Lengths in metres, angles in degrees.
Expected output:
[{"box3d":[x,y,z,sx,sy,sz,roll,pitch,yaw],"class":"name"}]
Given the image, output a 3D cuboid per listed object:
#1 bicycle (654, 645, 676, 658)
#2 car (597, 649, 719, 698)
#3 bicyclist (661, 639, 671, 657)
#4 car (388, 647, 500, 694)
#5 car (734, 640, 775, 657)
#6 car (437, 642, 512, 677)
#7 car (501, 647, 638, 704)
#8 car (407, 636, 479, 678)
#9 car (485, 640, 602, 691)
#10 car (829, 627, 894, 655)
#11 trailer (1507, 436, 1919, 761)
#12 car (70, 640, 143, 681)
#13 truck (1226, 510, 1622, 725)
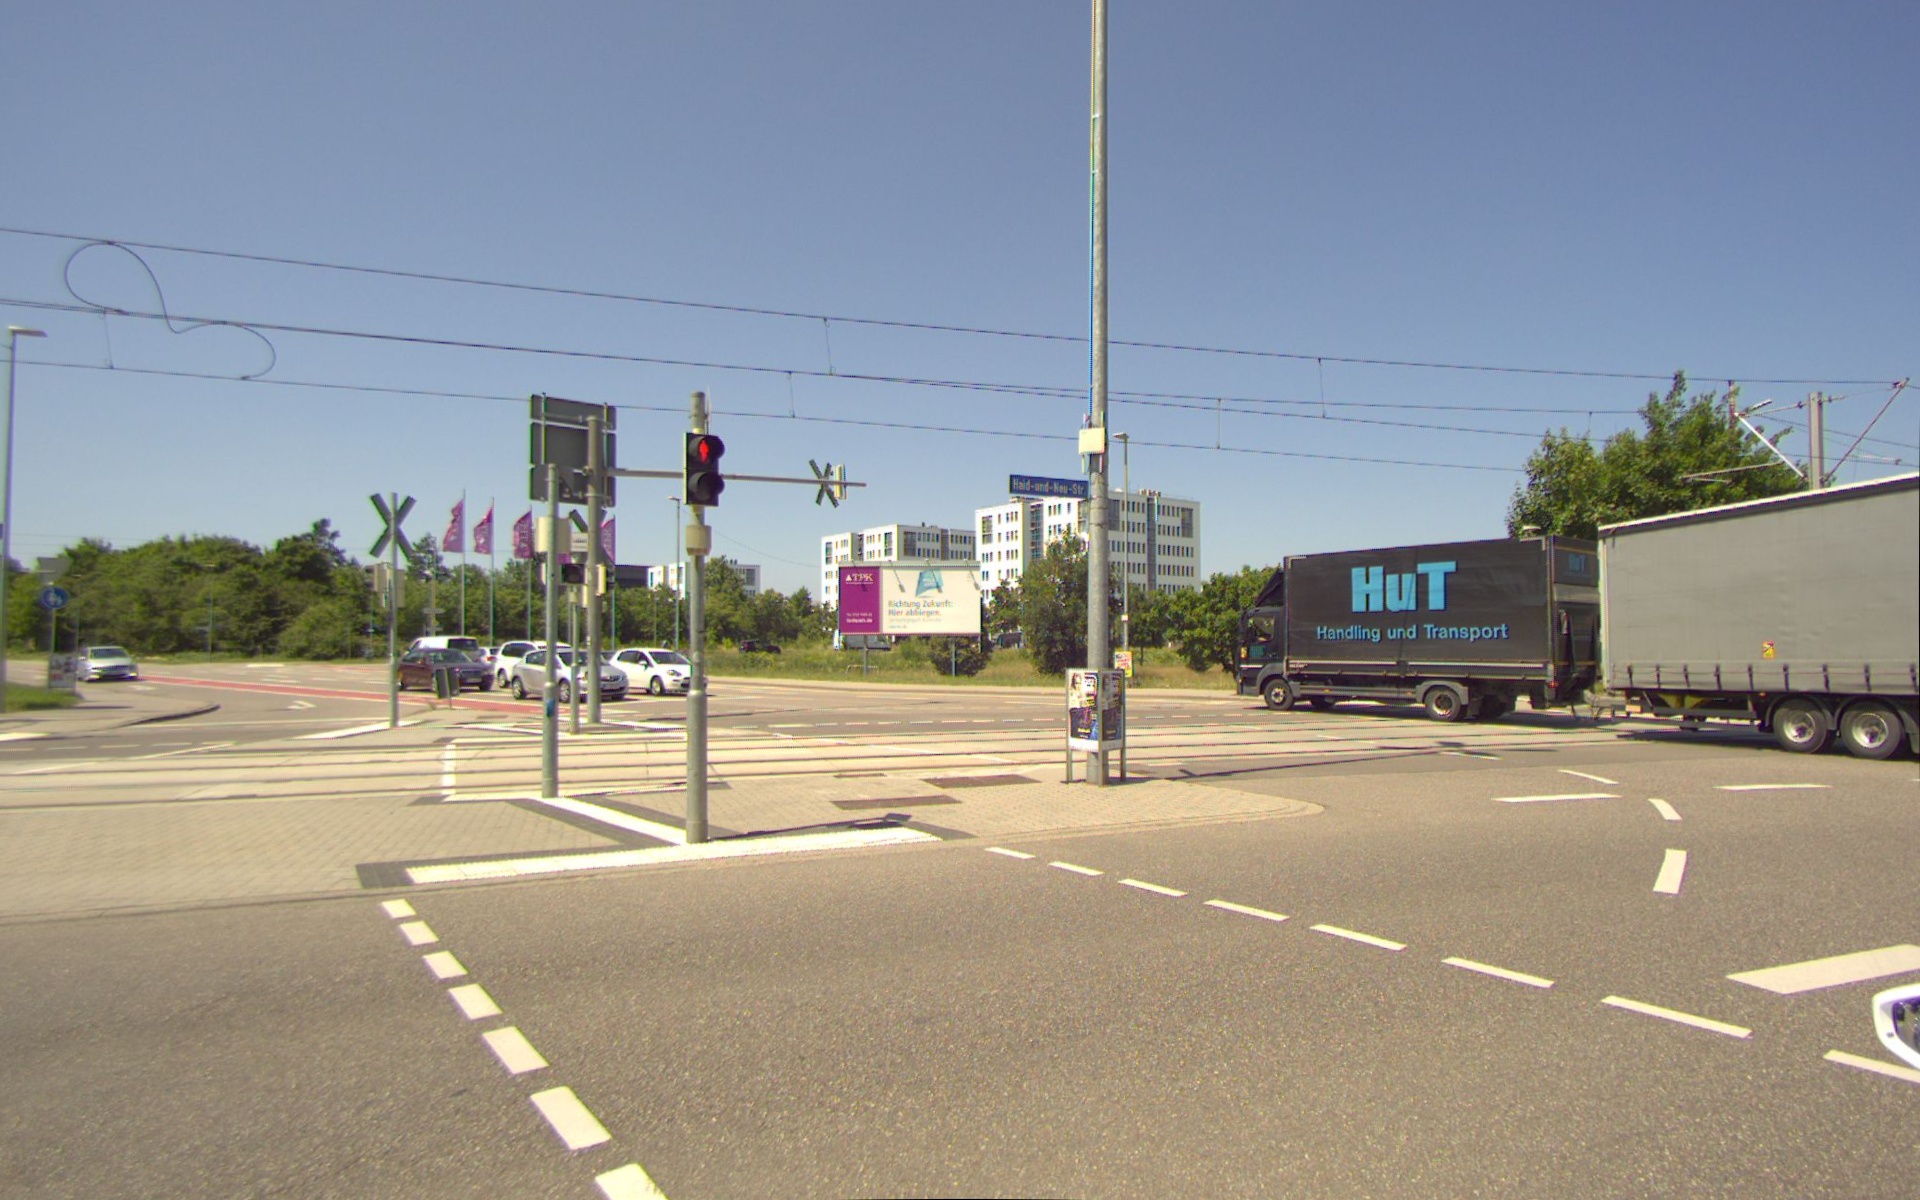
[{"box3d":[-27.755,4.828,94.613,0.605,1.196,1.953,1,0,44],"class":"bicycle"},{"box3d":[-9.663,2.303,32.091,3.898,1.456,1.767,-2,-4,37],"class":"car"},{"box3d":[-27.713,4.490,94.648,0.601,1.646,0.688,1,0,44],"class":"bicyclist"},{"box3d":[-17.669,2.357,34.319,4.218,1.476,1.759,-2,-3,38],"class":"car"},{"box3d":[-20.344,4.815,99.534,1.682,1.552,3.607,-2,-5,44],"class":"car"},{"box3d":[-24.288,2.951,50.204,3.939,1.653,1.836,-2,-3,39],"class":"car"},{"box3d":[-11.249,2.100,28.830,4.345,1.475,1.789,-2,-2,39],"class":"car"},{"box3d":[-24.534,2.676,47.655,3.940,1.932,1.653,-2,-3,40],"class":"car"},{"box3d":[-15.127,2.328,36.380,4.756,1.746,1.810,-2,-3,38],"class":"car"},{"box3d":[-10.667,4.494,108.754,6.803,2.838,2.636,3,-4,-42],"class":"car"},{"box3d":[13.323,0.139,15.780,3.030,4.122,9.799,0,-3,-8],"class":"trailer"},{"box3d":[-38.622,2.689,45.441,4.191,1.567,1.739,1,0,39],"class":"car"},{"box3d":[10.337,0.537,23.360,3.059,4.122,7.877,3,-4,-37],"class":"truck"}]
